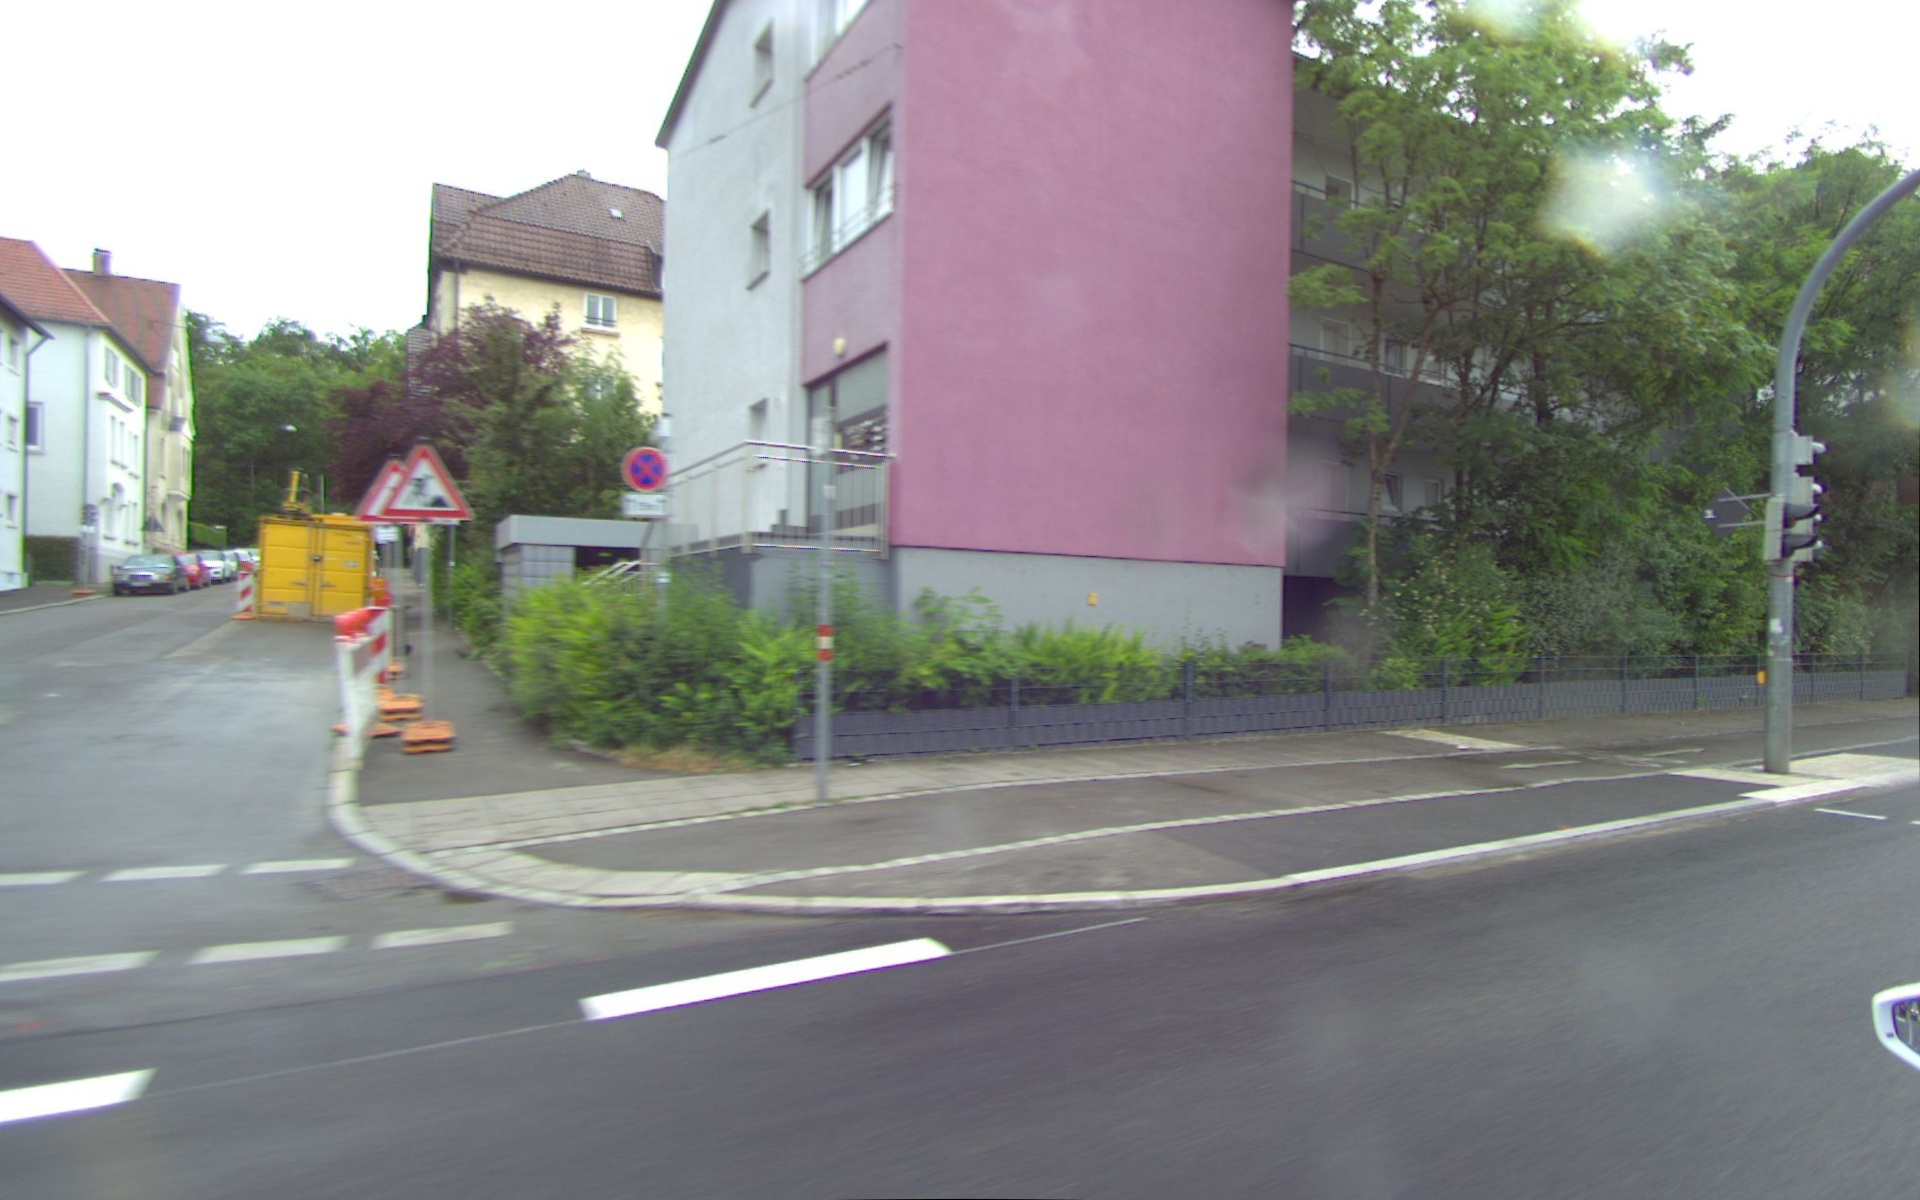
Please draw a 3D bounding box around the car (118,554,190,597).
[{"bbox_3d":[-28.842,-0.895,36.017,1.611,1.428,3.372,0,3,-32],"label":"car"}]

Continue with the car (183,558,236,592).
[{"bbox_3d":[-34.371,-1.161,46.072,1.610,1.428,3.372,0,3,-32],"label":"car"}]

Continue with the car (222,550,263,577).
[{"bbox_3d":[-39.914,-2.033,55.929,1.610,1.428,3.372,0,3,-32],"label":"car"}]

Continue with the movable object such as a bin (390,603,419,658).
[{"bbox_3d":[-10.312,0.561,18.641,0.429,0.992,0.325,1,0,-34],"label":"movable object such as a bin"}]

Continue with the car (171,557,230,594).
[{"bbox_3d":[-31.280,-1.028,41.443,1.610,1.428,3.372,0,3,-32],"label":"car"}]

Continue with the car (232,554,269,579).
[{"bbox_3d":[-43.111,-2.027,61.108,1.610,1.428,3.372,0,3,-32],"label":"car"}]
